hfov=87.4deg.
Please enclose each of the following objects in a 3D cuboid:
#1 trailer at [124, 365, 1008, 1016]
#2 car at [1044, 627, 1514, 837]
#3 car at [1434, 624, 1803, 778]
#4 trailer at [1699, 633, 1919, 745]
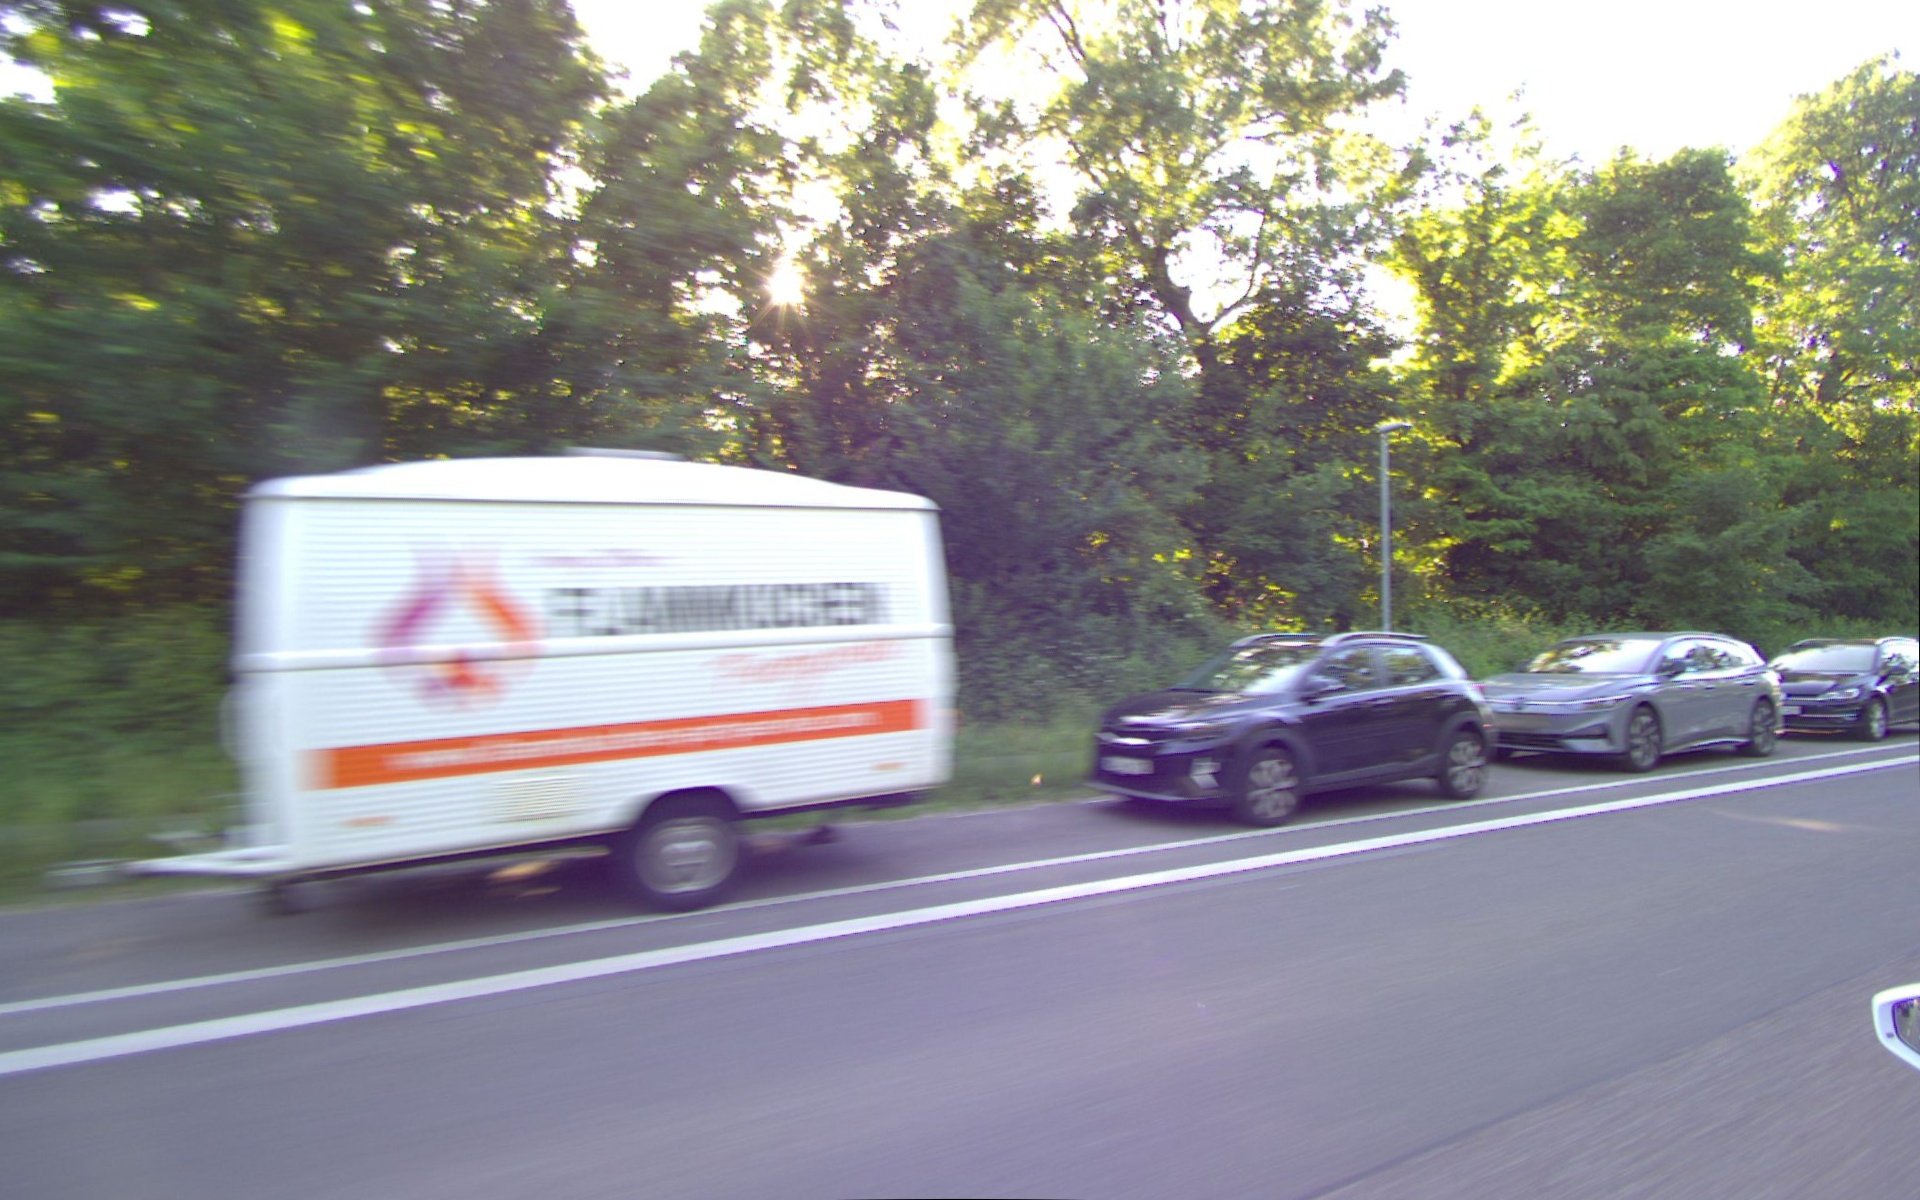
[{"bbox_3d":[-2.111,0.415,6.138,4.298,2.562,2.332,1,-2,-33],"label":"trailer"},{"bbox_3d":[2.938,1.062,9.044,4.145,1.514,1.664,2,-5,-30],"label":"car"},{"bbox_3d":[8.210,1.163,12.381,5.067,1.594,1.664,2,-5,-30],"label":"car"},{"bbox_3d":[13.645,1.288,15.676,4.414,1.485,1.832,1,-1,-30],"label":"trailer"}]
